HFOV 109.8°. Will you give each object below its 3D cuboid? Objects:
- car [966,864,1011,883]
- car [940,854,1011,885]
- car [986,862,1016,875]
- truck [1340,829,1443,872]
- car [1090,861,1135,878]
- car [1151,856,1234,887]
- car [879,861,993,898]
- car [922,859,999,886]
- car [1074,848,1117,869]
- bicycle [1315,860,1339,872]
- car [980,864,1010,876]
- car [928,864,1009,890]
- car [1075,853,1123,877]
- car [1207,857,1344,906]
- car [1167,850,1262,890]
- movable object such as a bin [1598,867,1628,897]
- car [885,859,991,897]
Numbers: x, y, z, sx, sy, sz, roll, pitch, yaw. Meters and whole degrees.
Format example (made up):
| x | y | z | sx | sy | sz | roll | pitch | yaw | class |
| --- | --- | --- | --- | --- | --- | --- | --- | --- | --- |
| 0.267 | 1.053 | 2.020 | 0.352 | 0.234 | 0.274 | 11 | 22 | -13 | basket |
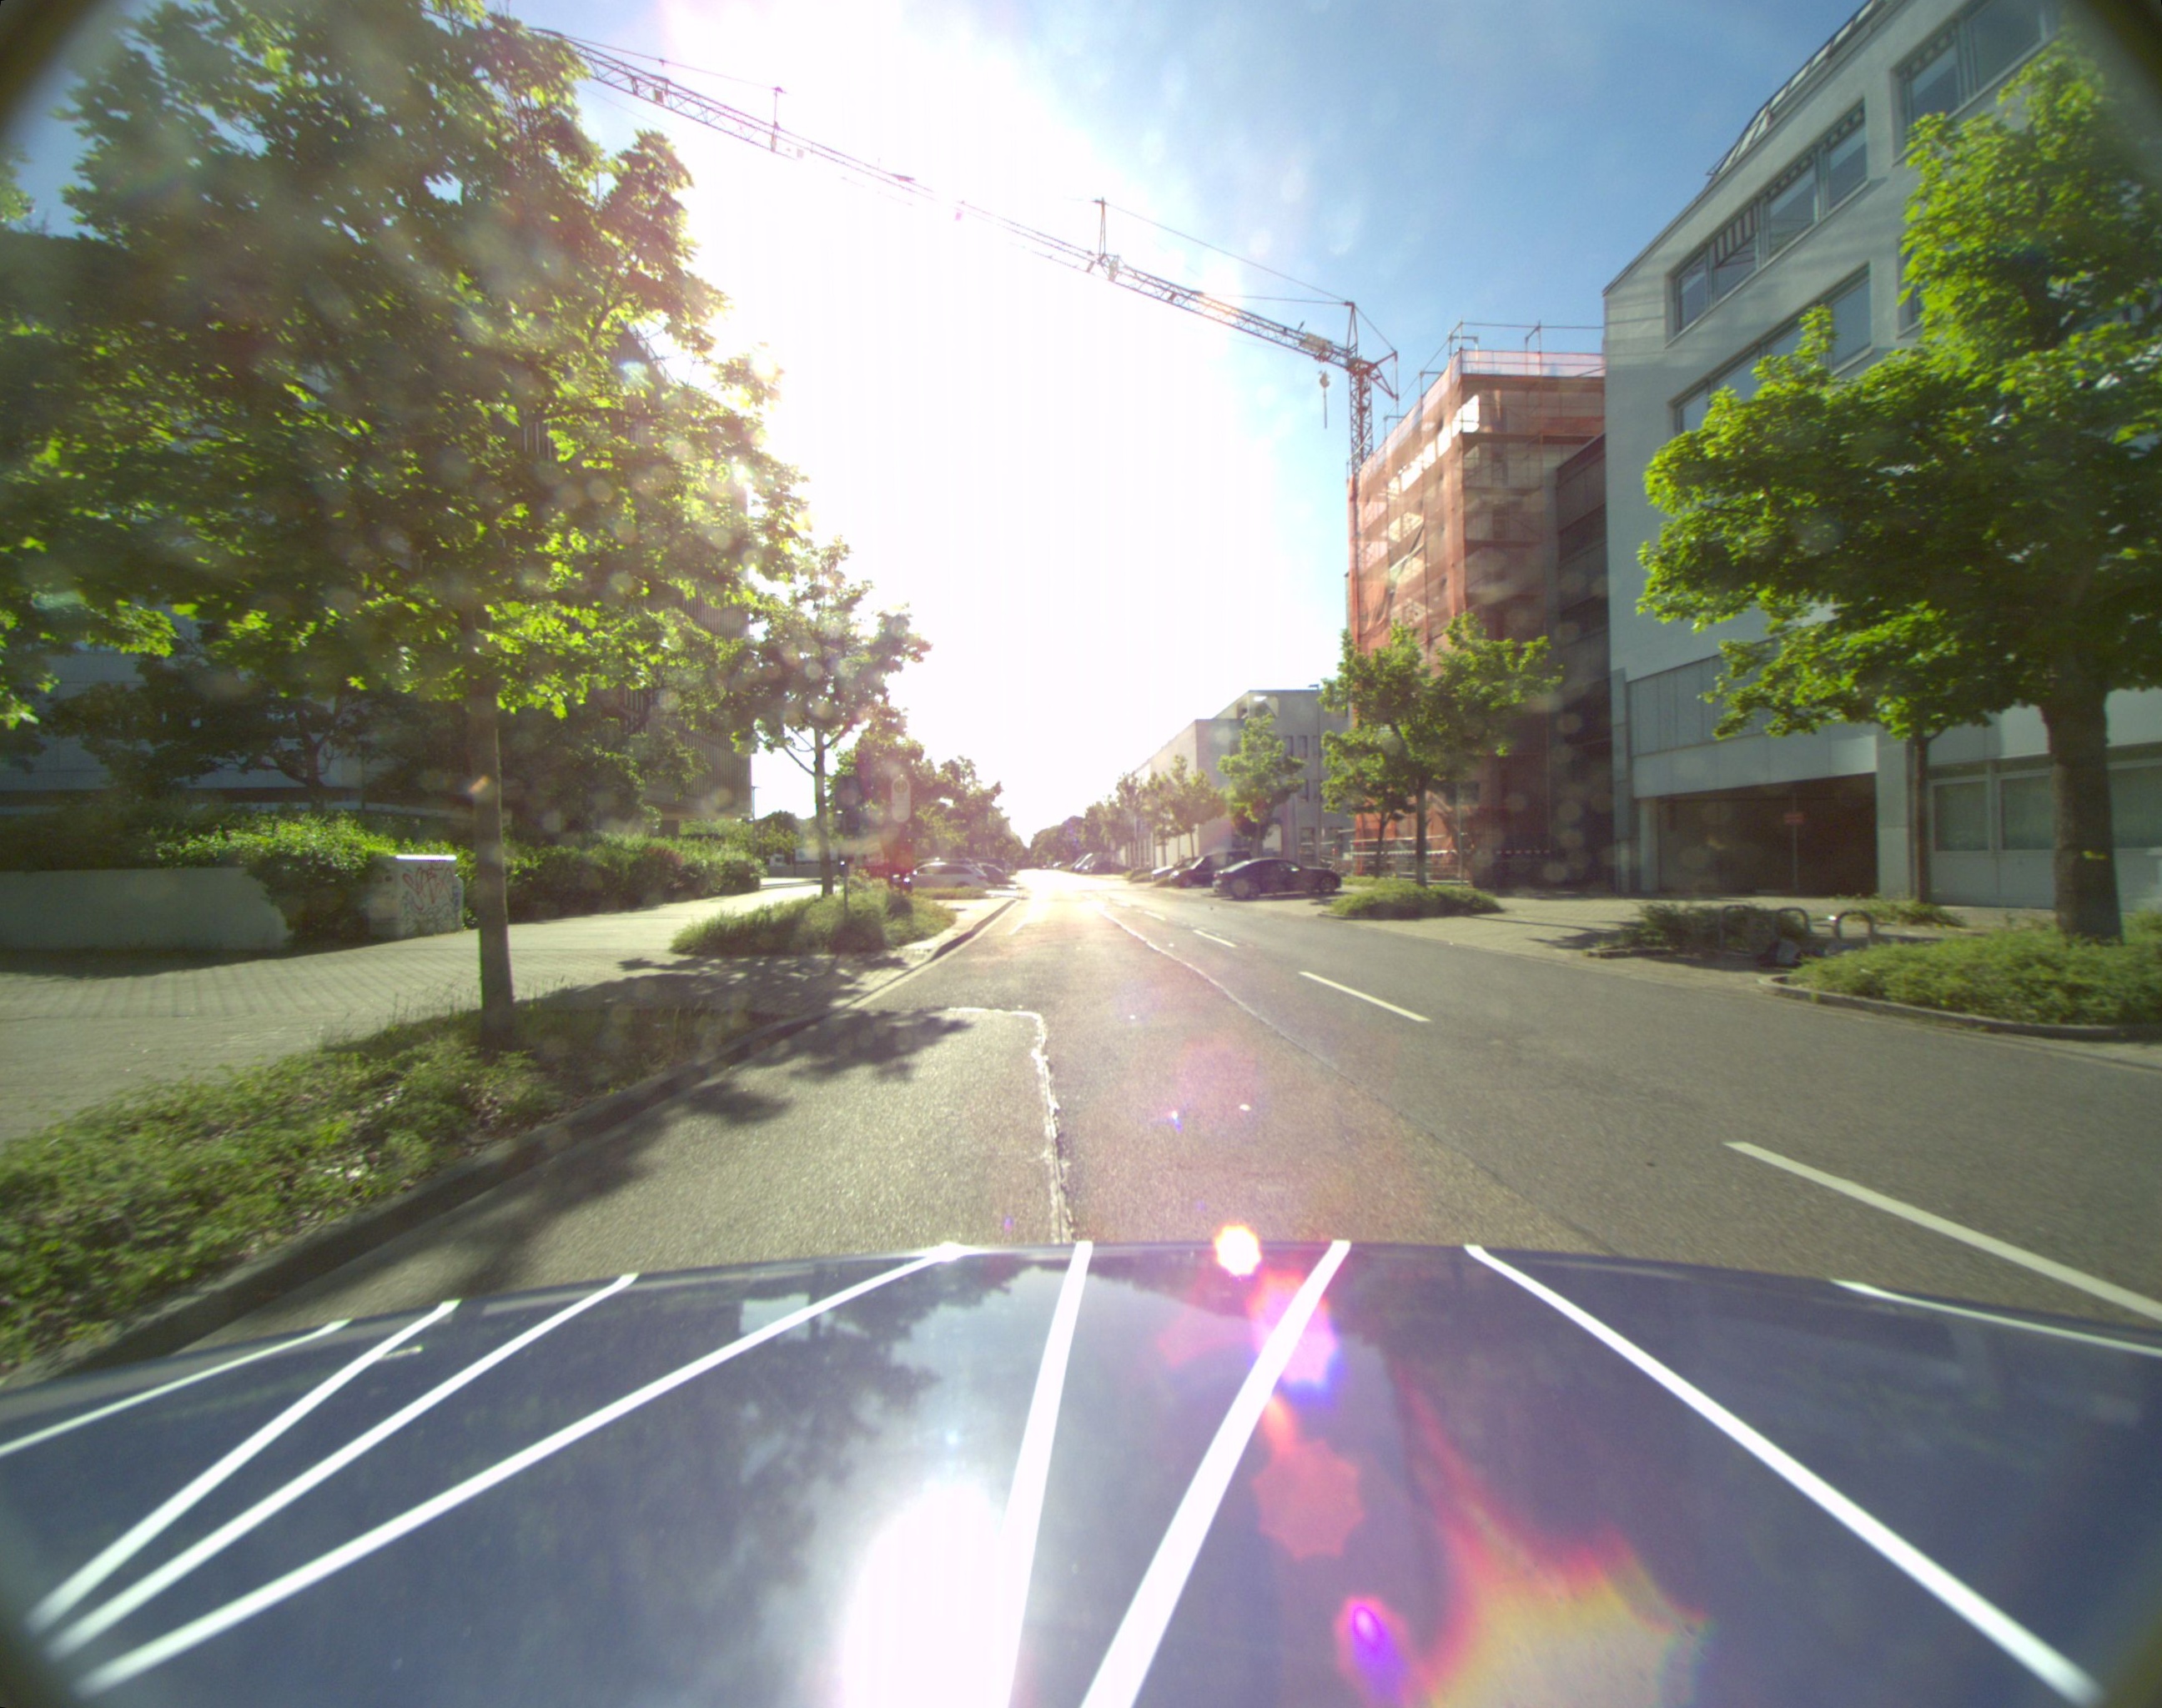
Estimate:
| x | y | z | sx | sy | sz | roll | pitch | yaw | class |
| --- | --- | --- | --- | --- | --- | --- | --- | --- | --- |
| -8.161 | 1.692 | 67.252 | 3.963 | 1.590 | 1.675 | 0 | 0 | -6 | car |
| -6.787 | 0.989 | 49.120 | 4.415 | 1.881 | 2.074 | 0 | 0 | -4 | car |
| -10.147 | 1.815 | 96.035 | 3.718 | 1.662 | 1.675 | 0 | 0 | -5 | car |
| 20.346 | -0.224 | 50.016 | 5.858 | 2.714 | 2.269 | -1 | 0 | -3 | truck |
| 3.228 | 1.614 | 78.364 | 4.317 | 1.505 | 1.718 | -4 | 0 | -5 | car |
| 6.384 | 0.989 | 43.650 | 4.398 | 1.505 | 1.693 | -4 | 0 | -4 | car |
| -5.922 | 1.043 | 31.407 | 4.415 | 1.454 | 1.895 | 0 | 0 | -4 | car |
| -7.182 | 1.112 | 45.812 | 4.415 | 1.548 | 2.074 | 0 | 0 | -4 | car |
| 1.983 | 0.611 | 104.677 | 5.584 | 2.622 | 2.010 | -4 | 0 | -2 | car |
| 25.109 | 1.258 | 77.439 | 2.263 | 1.203 | 0.717 | -1 | 0 | -9 | bicycle |
| -10.553 | 1.964 | 93.381 | 3.718 | 1.516 | 1.675 | 0 | 0 | -5 | car |
| -6.385 | 1.286 | 43.388 | 4.415 | 1.401 | 2.074 | 0 | 0 | -4 | car |
| 2.212 | 1.336 | 92.833 | 5.584 | 2.468 | 2.010 | -4 | 0 | -2 | car |
| 7.062 | 0.974 | 27.814 | 4.399 | 1.423 | 1.976 | -4 | 0 | -8 | car |
| 6.833 | 0.800 | 39.193 | 4.397 | 1.735 | 1.846 | -4 | 0 | -3 | car |
| 16.338 | 0.850 | 23.348 | 0.488 | 0.921 | 0.610 | 0 | 0 | -2 | movable object such as a bin |
| -6.288 | 1.035 | 33.868 | 4.415 | 1.631 | 2.074 | 0 | 0 | -4 | car |
